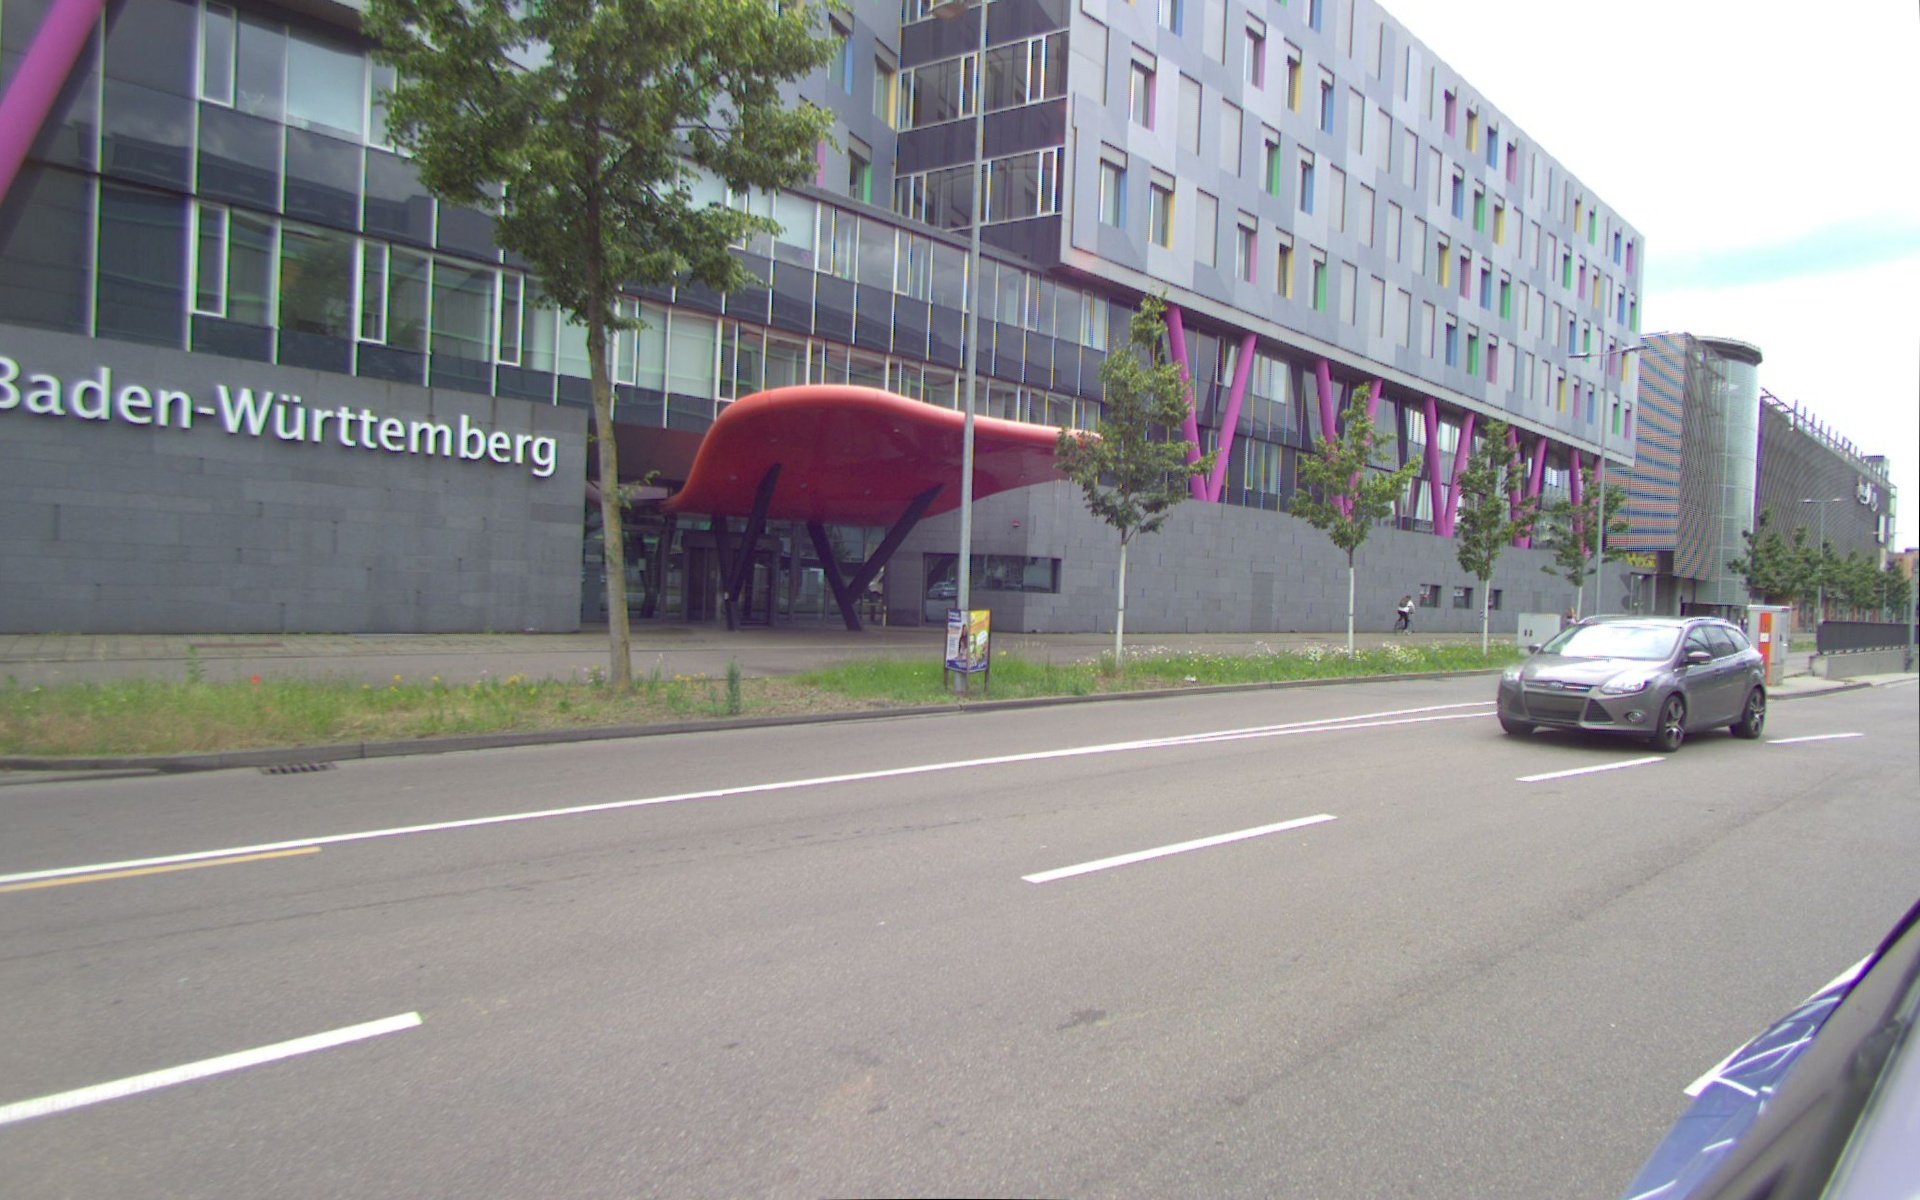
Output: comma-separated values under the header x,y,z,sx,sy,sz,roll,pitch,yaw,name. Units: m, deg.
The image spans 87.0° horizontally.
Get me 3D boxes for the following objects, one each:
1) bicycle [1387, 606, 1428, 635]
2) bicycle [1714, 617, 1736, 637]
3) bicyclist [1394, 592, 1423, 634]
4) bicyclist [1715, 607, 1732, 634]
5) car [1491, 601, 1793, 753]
x,y,z,sx,sy,sz,roll,pitch,yaw,name
19.896,0.923,44.975,2.182,1.209,0.784,2,0,-42,bicycle
52.841,1.850,69.889,2.303,1.173,0.800,7,-4,-42,bicycle
19.959,0.594,45.037,0.957,1.809,0.772,2,0,-42,bicyclist
52.498,1.397,69.583,0.692,1.826,0.783,7,-4,-41,bicyclist
8.435,0.861,12.396,4.188,1.518,1.753,2,0,-36,car
